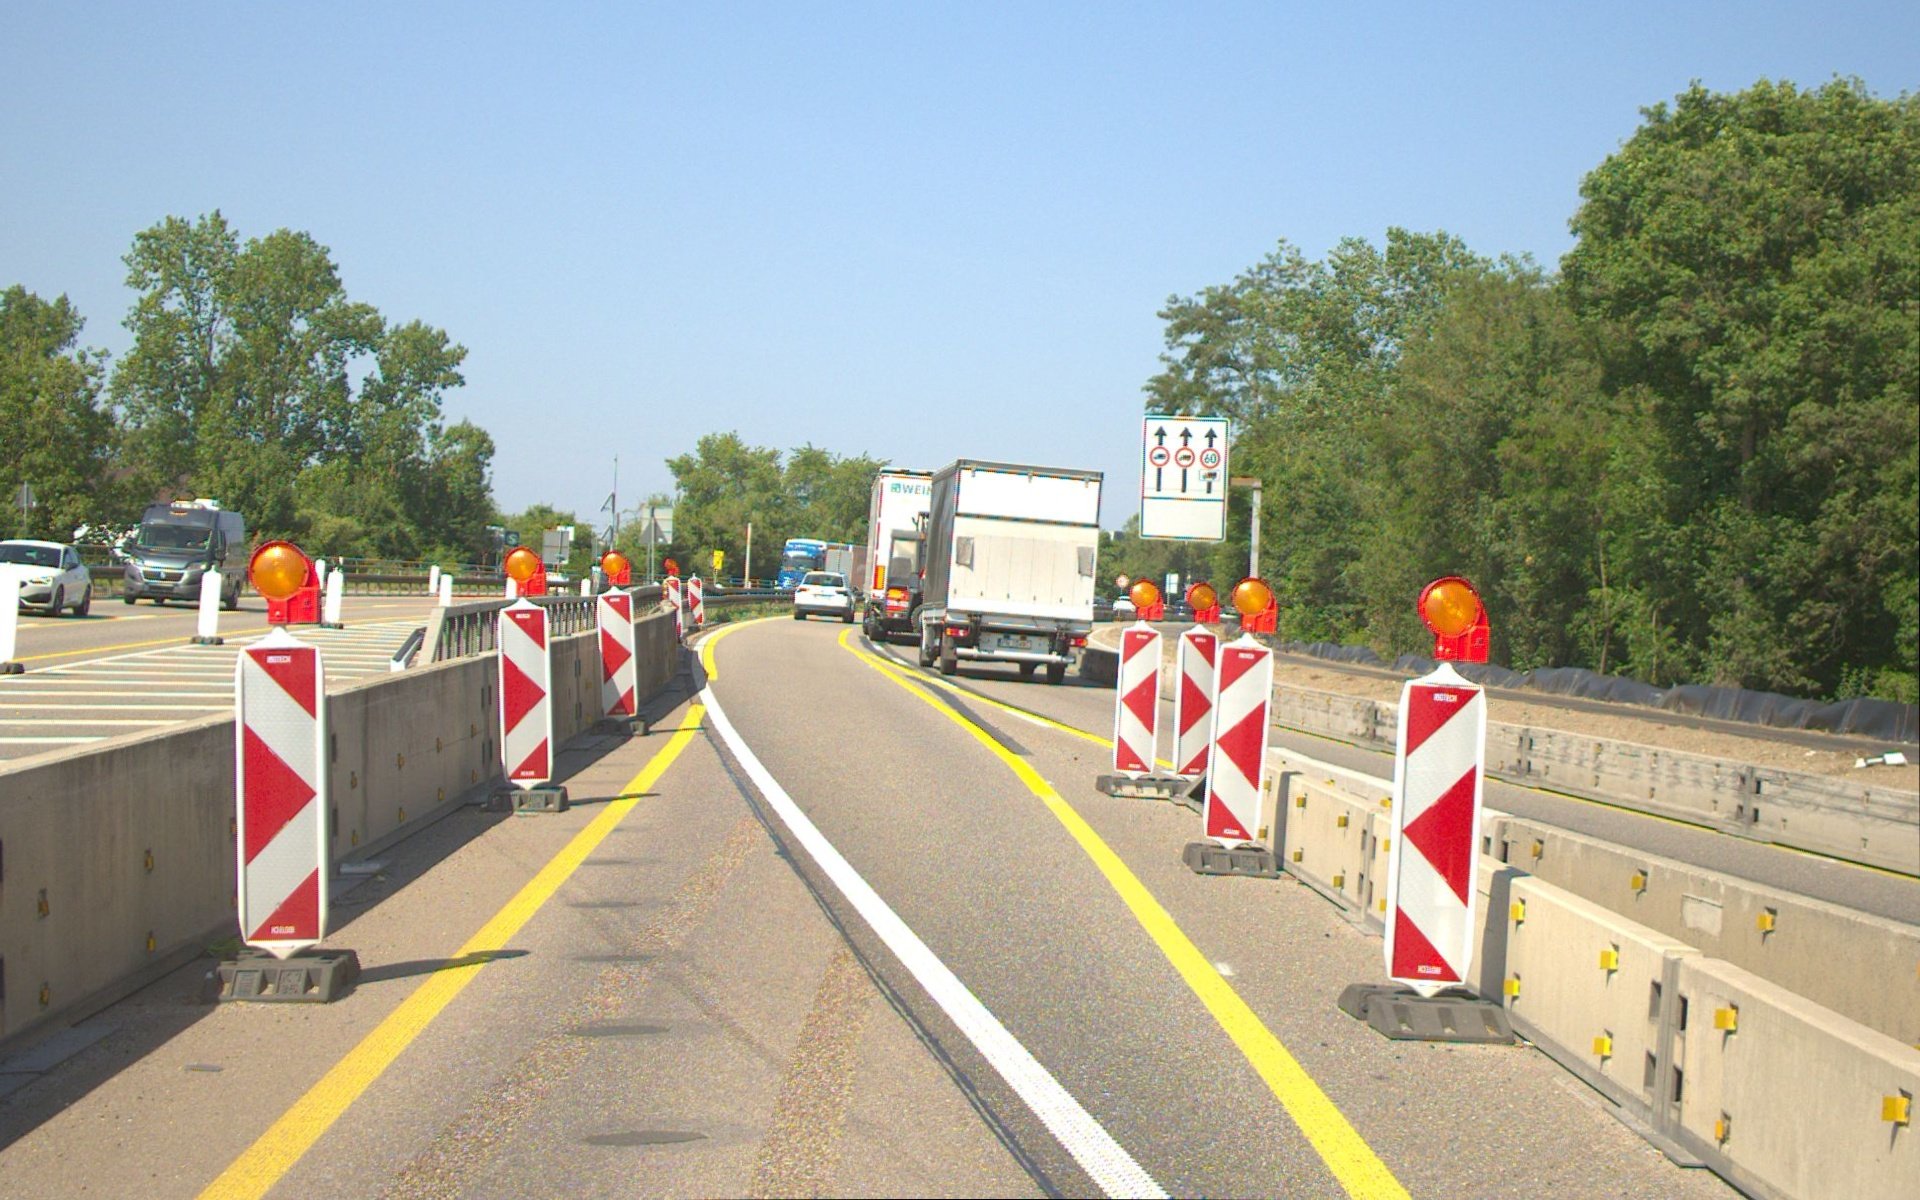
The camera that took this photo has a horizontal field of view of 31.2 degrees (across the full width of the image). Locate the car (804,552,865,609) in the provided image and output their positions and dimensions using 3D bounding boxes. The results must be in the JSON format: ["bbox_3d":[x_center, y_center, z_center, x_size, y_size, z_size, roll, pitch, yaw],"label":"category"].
[{"bbox_3d":[-4.112,-0.643,112.049,1.816,1.770,4.001,2,0,-4],"label":"car"}]

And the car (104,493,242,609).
[{"bbox_3d":[-19.236,-1.173,84.290,2.146,2.651,5.546,3,0,-2],"label":"car"}]

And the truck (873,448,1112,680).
[{"bbox_3d":[0.418,-0.610,56.419,2.633,3.416,7.235,3,1,-8],"label":"truck"}]

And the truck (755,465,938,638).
[{"bbox_3d":[-2.765,-1.123,80.824,3.387,3.761,7.235,2,0,-8],"label":"truck"}]

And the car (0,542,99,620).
[{"bbox_3d":[-18.138,-0.388,67.255,1.719,1.392,4.520,4,0,-5],"label":"car"}]
